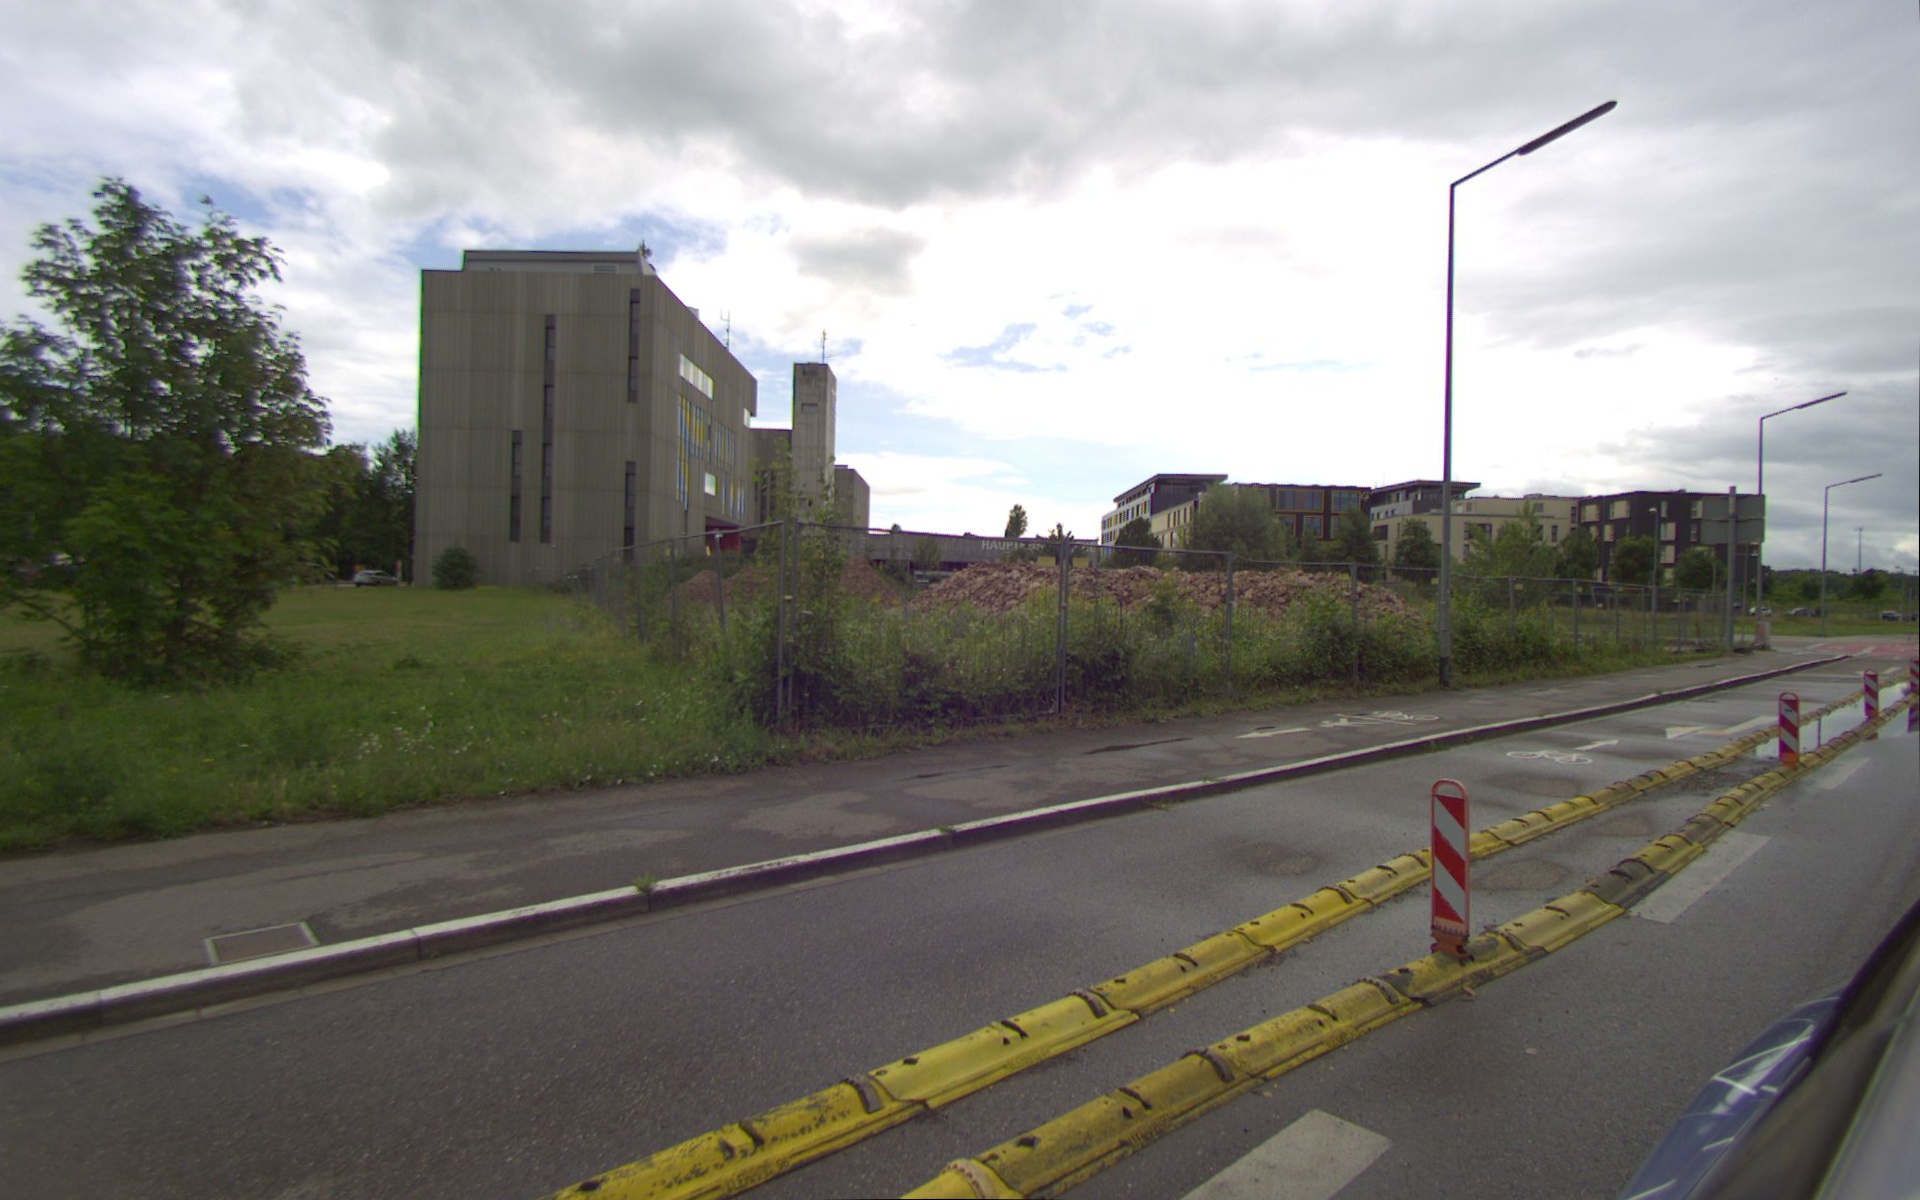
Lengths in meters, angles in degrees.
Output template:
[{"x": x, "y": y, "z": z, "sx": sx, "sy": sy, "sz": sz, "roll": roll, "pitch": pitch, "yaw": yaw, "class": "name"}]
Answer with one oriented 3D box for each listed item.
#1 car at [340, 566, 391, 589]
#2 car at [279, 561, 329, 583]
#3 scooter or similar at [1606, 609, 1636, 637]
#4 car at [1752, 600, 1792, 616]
[{"x": -50.696, "y": -1.926, "z": 86.391, "sx": 2.037, "sy": 1.836, "sz": 4.210, "roll": 1, "pitch": 1, "yaw": -2, "class": "car"}, {"x": -56.402, "y": -2.373, "z": 87.094, "sx": 1.826, "sy": 1.804, "sz": 4.003, "roll": 1, "pitch": 1, "yaw": -3, "class": "car"}, {"x": 29.963, "y": 1.038, "z": 45.916, "sx": 0.437, "sy": 1.200, "sz": 1.327, "roll": 1, "pitch": 0, "yaw": -2, "class": "scooter or similar"}, {"x": 115.471, "y": 1.162, "z": 143.924, "sx": 3.923, "sy": 2.039, "sz": 2.001, "roll": 2, "pitch": 1, "yaw": -1, "class": "car"}]
